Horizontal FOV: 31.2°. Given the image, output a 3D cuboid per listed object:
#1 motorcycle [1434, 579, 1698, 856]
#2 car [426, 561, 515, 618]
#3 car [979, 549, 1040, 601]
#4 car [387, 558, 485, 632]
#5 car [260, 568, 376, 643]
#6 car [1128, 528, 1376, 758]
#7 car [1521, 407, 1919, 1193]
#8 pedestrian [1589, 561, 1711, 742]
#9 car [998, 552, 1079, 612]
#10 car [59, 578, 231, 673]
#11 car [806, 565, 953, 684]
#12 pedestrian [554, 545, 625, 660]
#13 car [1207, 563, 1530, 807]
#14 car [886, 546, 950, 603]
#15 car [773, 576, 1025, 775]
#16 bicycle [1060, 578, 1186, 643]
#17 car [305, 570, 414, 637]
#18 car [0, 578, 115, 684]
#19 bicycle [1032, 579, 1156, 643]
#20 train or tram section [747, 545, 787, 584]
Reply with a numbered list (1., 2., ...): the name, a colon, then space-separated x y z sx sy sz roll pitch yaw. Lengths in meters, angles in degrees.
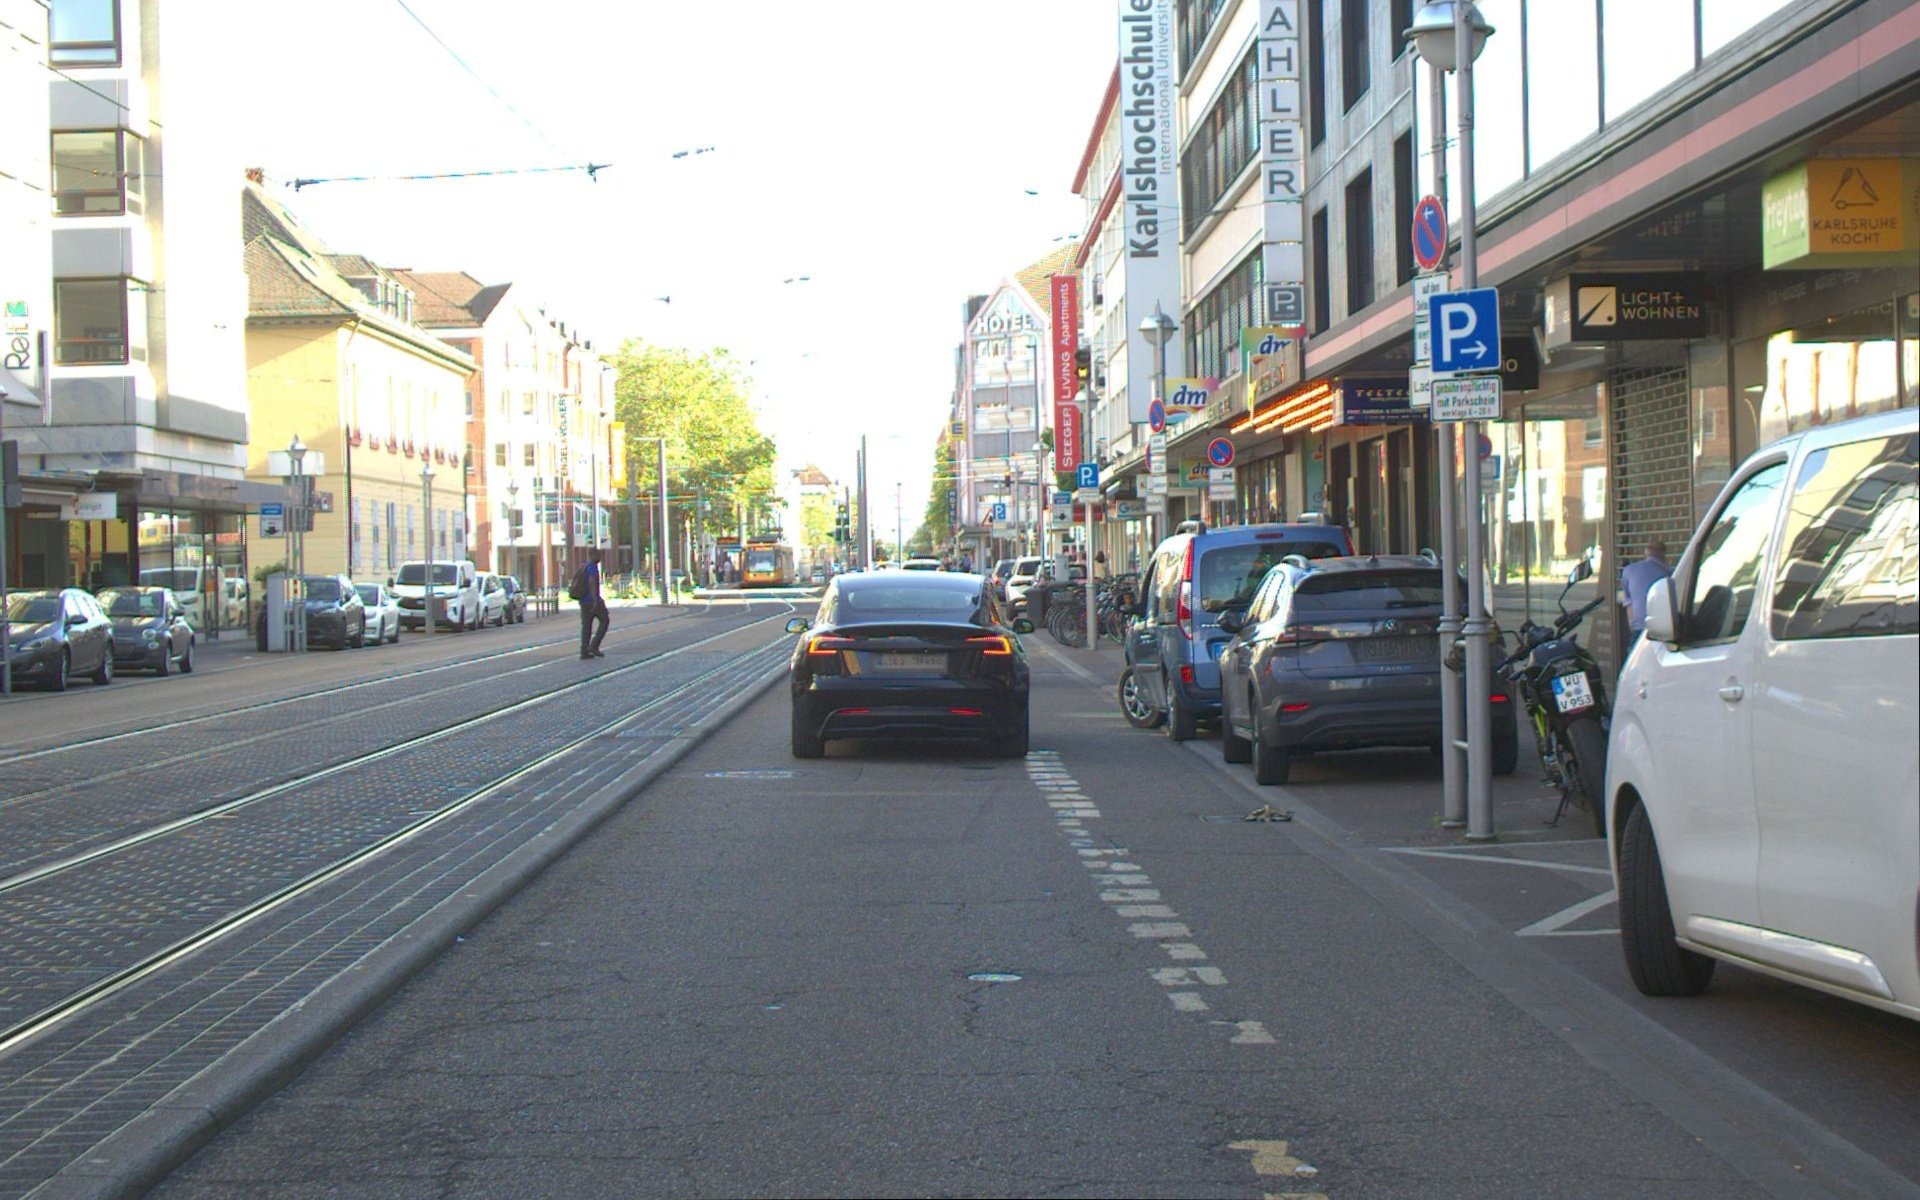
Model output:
1. motorcycle: 3.189 0.584 18.373 0.813 1.311 2.633 -5 0 -1
2. car: -14.414 -0.330 101.403 1.988 1.608 4.274 -1 1 0
3. car: 1.702 -0.853 119.342 1.993 1.747 4.000 -1 0 -1
4. car: -14.379 -0.164 94.535 2.009 1.954 4.725 -1 1 -1
5. car: -14.014 0.095 75.208 1.718 1.566 3.849 -1 1 1
6. car: 2.475 0.321 29.953 1.821 1.864 3.754 0 1 0
7. car: 3.274 0.402 9.998 2.158 1.920 4.618 -4 1 -3
8. pedestrian: 5.471 0.393 27.299 0.735 1.397 0.983 -1 1 -1
9. car: 2.049 -0.471 90.845 1.993 1.537 4.000 -1 0 -1
10. car: -13.696 0.404 57.976 1.770 1.503 3.860 -1 1 3
11. car: -1.036 0.297 43.959 1.761 1.414 4.355 -1 0 -2
12. pedestrian: -5.989 0.033 55.575 0.772 1.842 0.827 -1 1 28
13. car: 2.742 0.522 23.817 1.751 1.494 3.754 -1 1 0
14. car: -1.399 -0.877 116.052 2.085 1.864 3.754 0 1 0
15. car: -0.460 0.549 27.771 1.869 1.422 4.364 0 1 0
16. bicycle: 2.896 0.185 61.145 2.159 1.093 0.686 -1 1 -3
17. car: -14.147 0.072 81.157 1.770 1.503 3.972 -1 1 1
18. car: -14.124 0.453 51.842 1.769 1.503 3.864 -1 1 1
19. bicycle: 2.408 0.198 62.028 2.159 1.093 0.686 -1 1 -3
20. train or tram section: -13.212 -2.468 235.823 1.994 2.625 6.800 -1 1 3
